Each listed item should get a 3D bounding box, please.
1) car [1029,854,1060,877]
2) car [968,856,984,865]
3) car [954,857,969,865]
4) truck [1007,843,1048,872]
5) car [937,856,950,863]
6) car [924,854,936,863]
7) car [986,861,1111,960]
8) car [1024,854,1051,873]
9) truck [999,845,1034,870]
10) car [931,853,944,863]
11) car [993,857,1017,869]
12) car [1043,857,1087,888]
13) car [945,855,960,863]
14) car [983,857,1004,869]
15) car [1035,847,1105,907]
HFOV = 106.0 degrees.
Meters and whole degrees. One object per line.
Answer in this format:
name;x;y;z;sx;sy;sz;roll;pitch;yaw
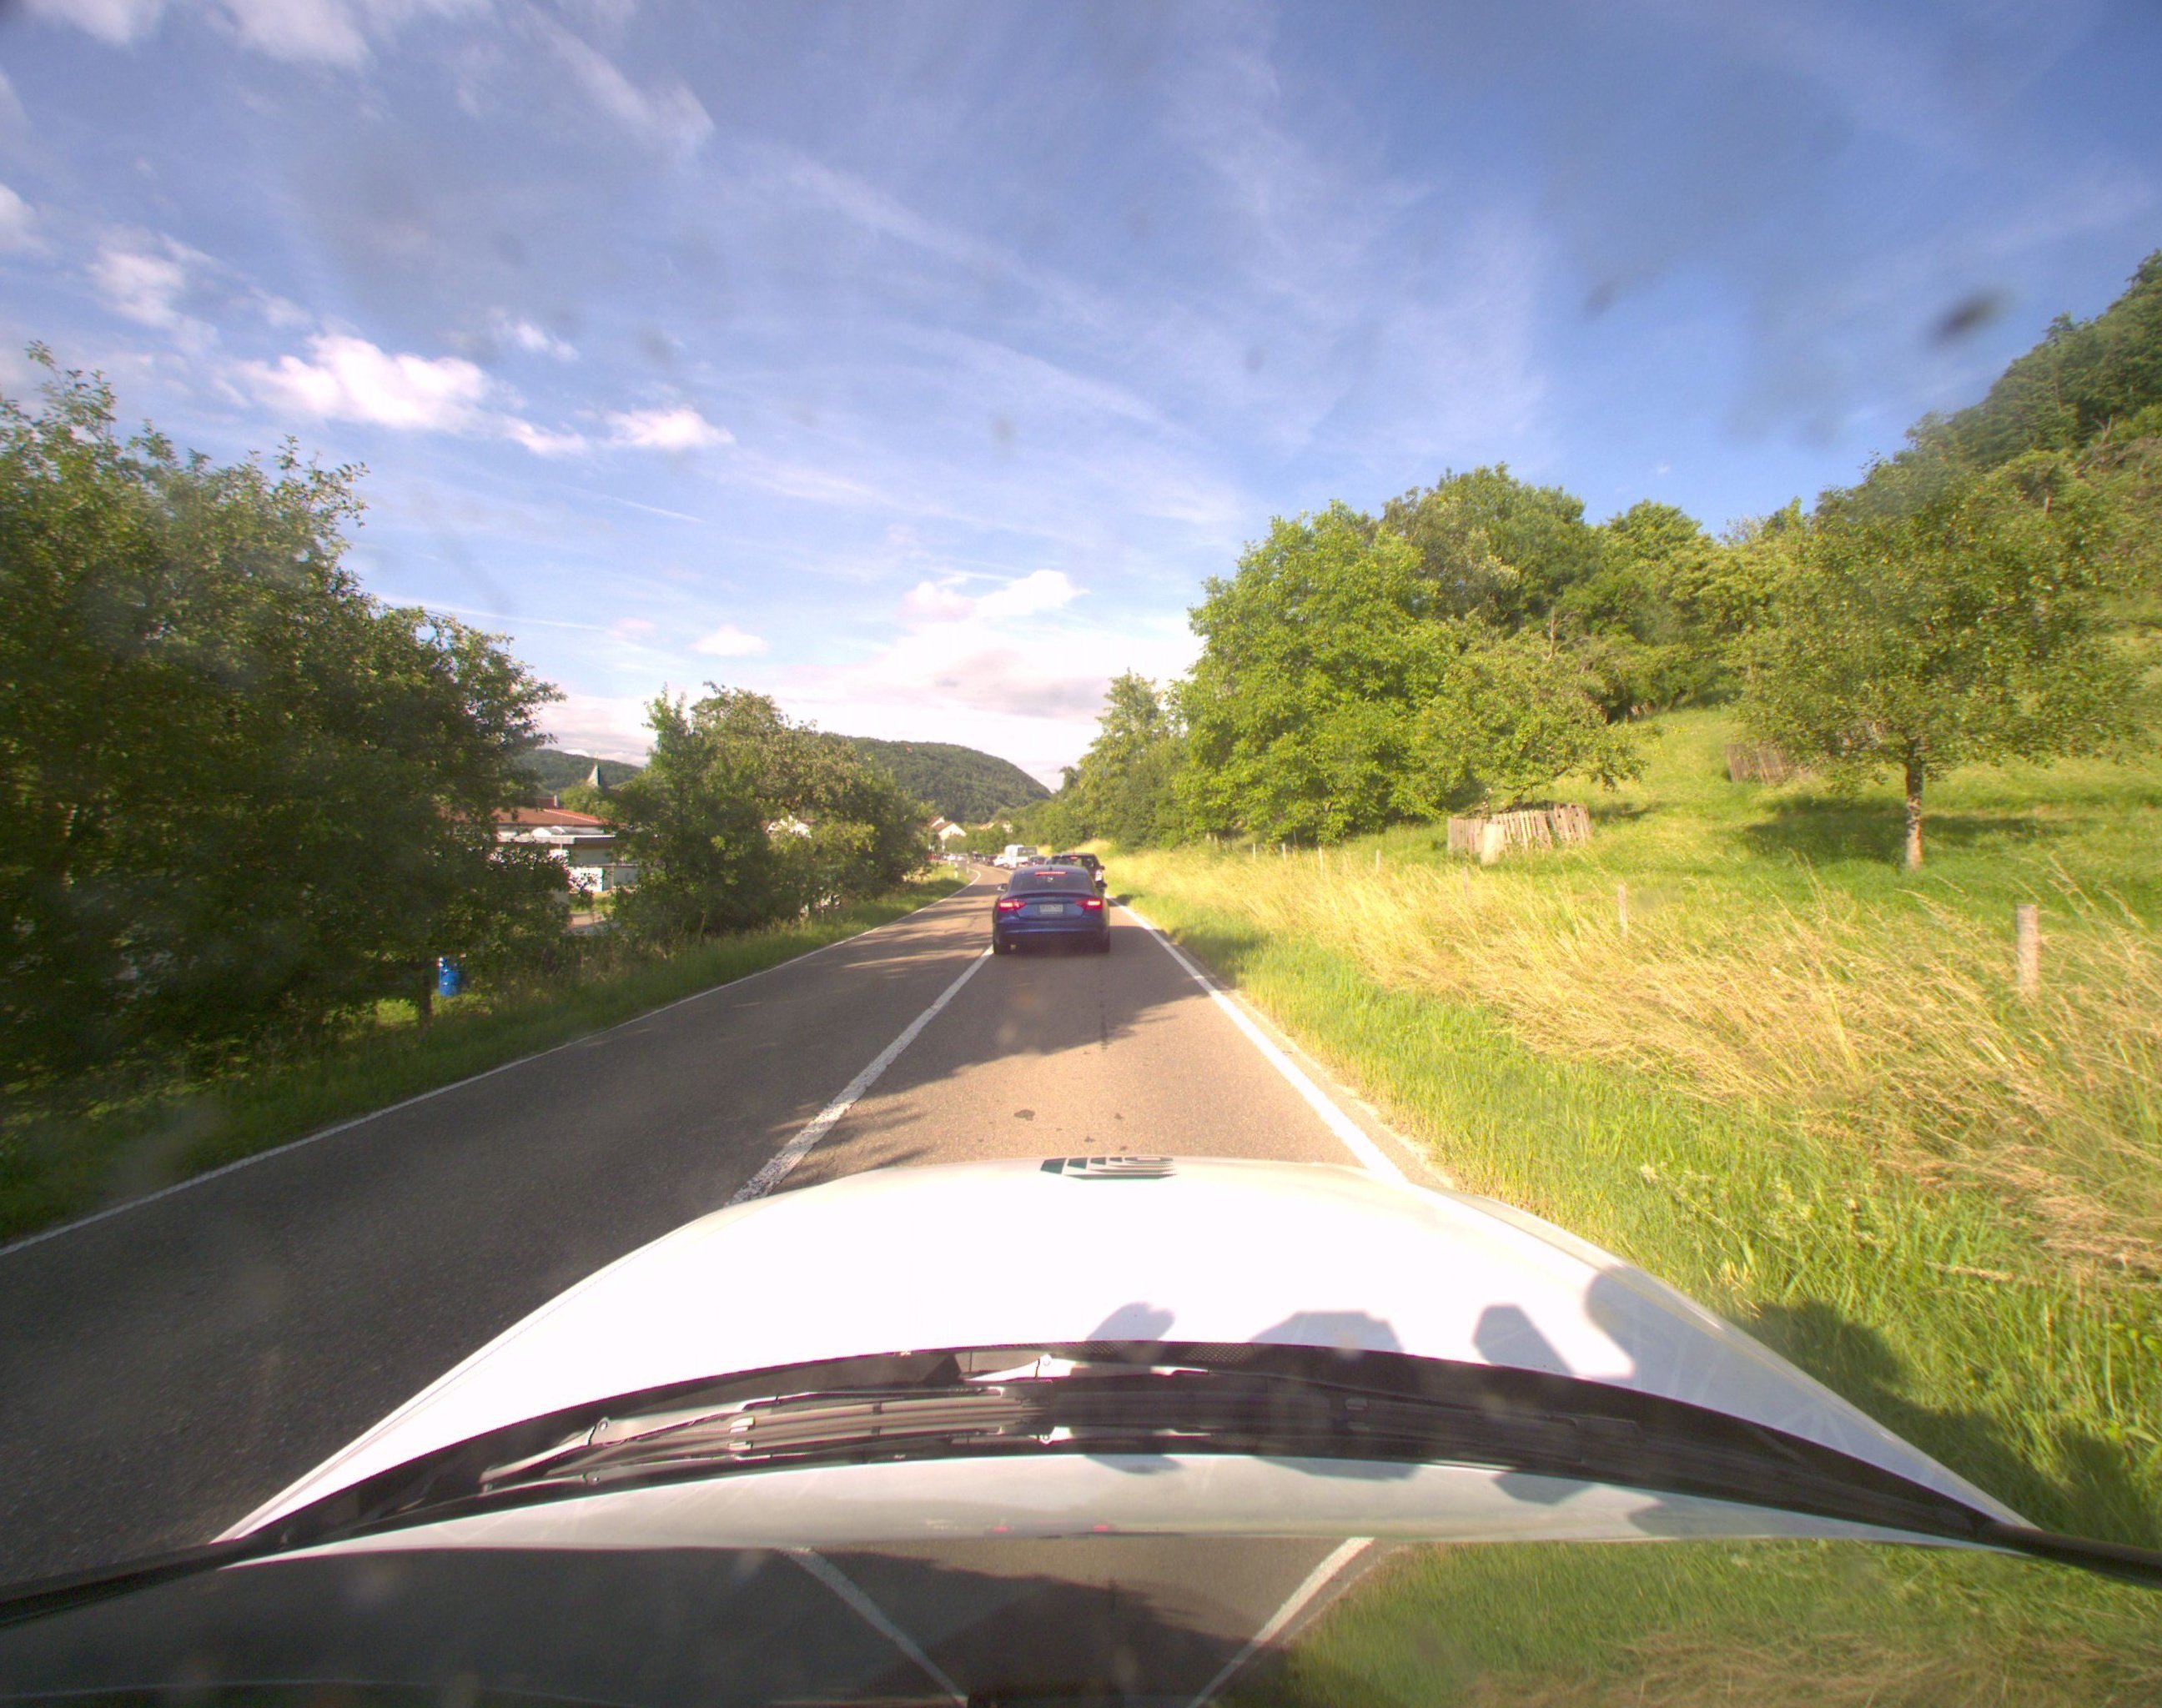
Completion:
car;-2.576;0.799;56.259;1.990;1.482;3.994;-1;-1;-4
car;-17.137;1.075;132.363;1.998;1.482;3.978;0;-1;-16
car;-21.951;1.305;149.389;2.001;1.482;3.970;0;-1;-22
truck;-5.413;0.315;80.265;2.865;2.665;10.355;-1;0;-10
car;-28.423;1.143;168.392;2.001;1.482;3.970;0;-1;-22
car;-34.785;1.119;187.812;2.001;2.014;3.972;0;-1;-21
car;-0.423;0.839;13.764;1.787;1.360;4.001;-1;0;1
car;-3.649;0.786;67.664;1.992;1.482;3.990;-1;-1;-7
truck;-7.331;0.399;91.499;2.865;2.665;10.606;-1;0;-10
car;-30.877;0.849;174.994;2.001;2.014;3.972;0;-1;-21
car;-9.537;1.100;101.987;2.000;1.482;3.973;0;-1;-20
car;-0.706;0.841;38.910;1.987;1.387;4.000;-1;-1;0
car;-25.165;1.033;159.173;2.001;1.482;3.970;0;-1;-22
car;-11.735;1.195;109.058;2.000;1.482;3.973;0;-1;-20
car;-0.304;0.677;25.262;1.987;1.702;4.000;-1;-1;0
